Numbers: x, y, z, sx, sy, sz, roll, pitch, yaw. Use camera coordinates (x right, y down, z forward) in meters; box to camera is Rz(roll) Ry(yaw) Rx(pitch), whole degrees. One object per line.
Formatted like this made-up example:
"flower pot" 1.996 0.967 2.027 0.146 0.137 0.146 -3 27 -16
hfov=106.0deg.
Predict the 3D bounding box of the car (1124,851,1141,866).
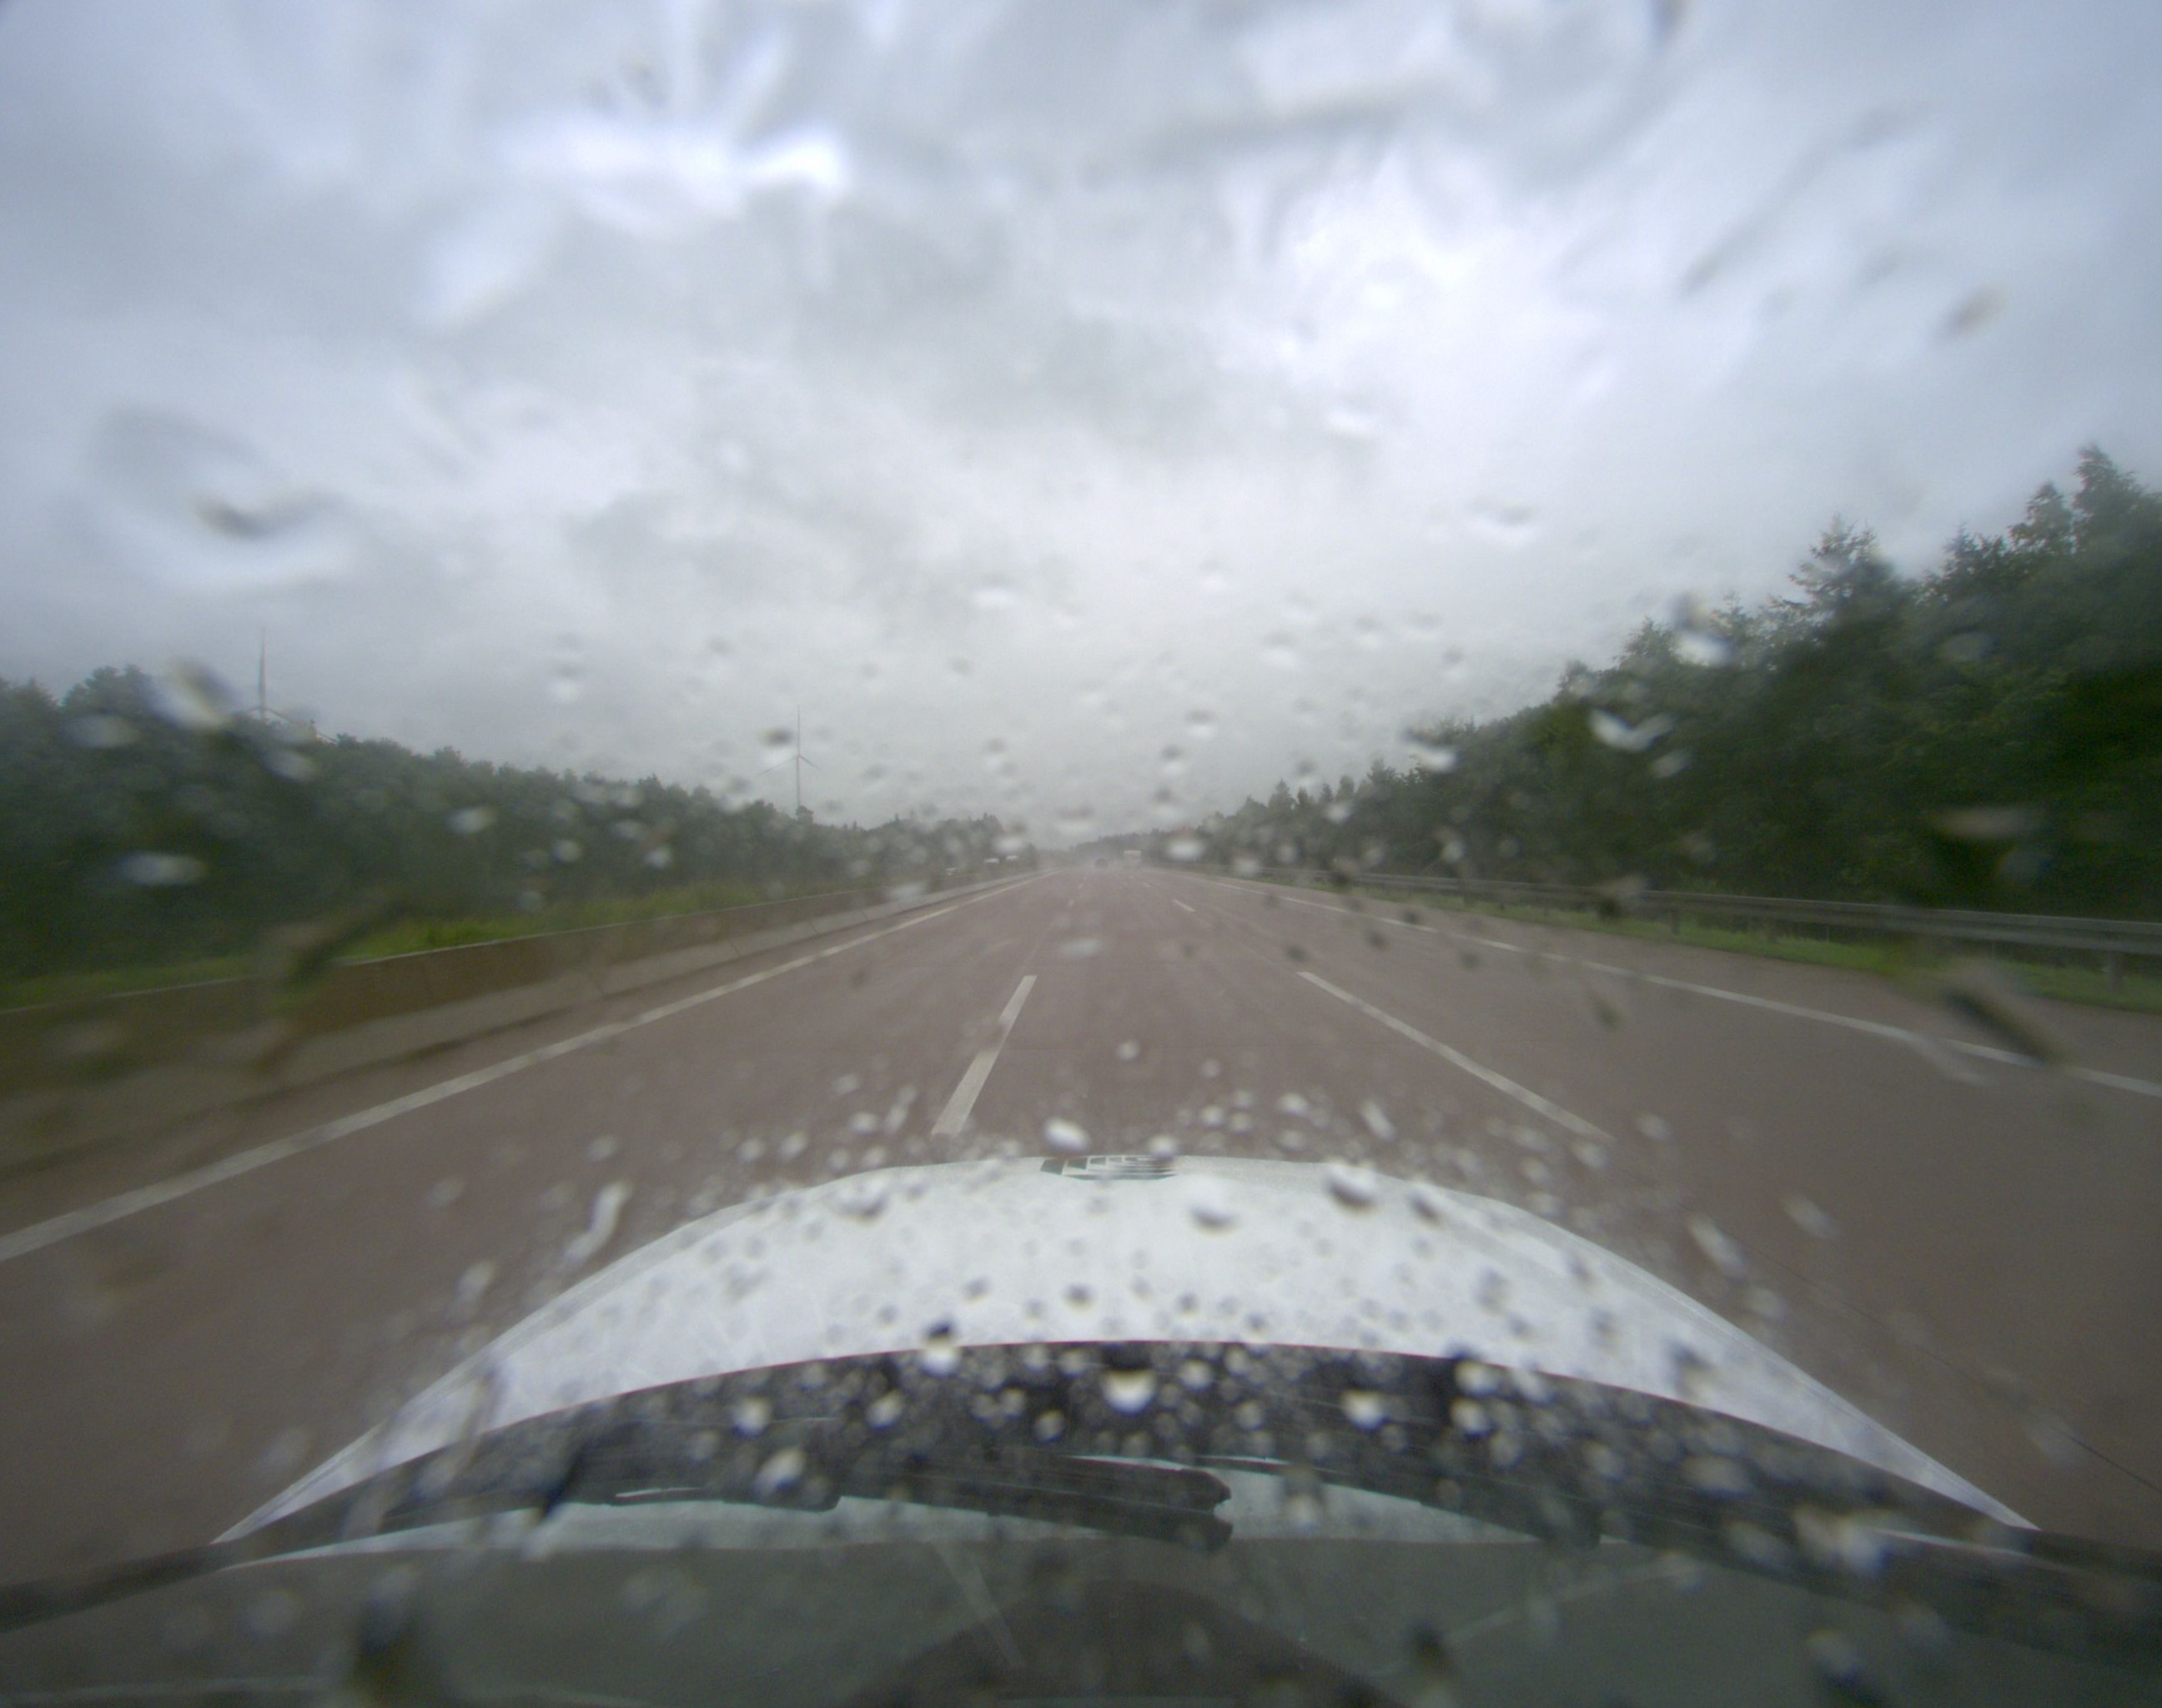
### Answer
"car" 6.997 0.633 110.614 2.050 1.999 4.100 2 0 2
